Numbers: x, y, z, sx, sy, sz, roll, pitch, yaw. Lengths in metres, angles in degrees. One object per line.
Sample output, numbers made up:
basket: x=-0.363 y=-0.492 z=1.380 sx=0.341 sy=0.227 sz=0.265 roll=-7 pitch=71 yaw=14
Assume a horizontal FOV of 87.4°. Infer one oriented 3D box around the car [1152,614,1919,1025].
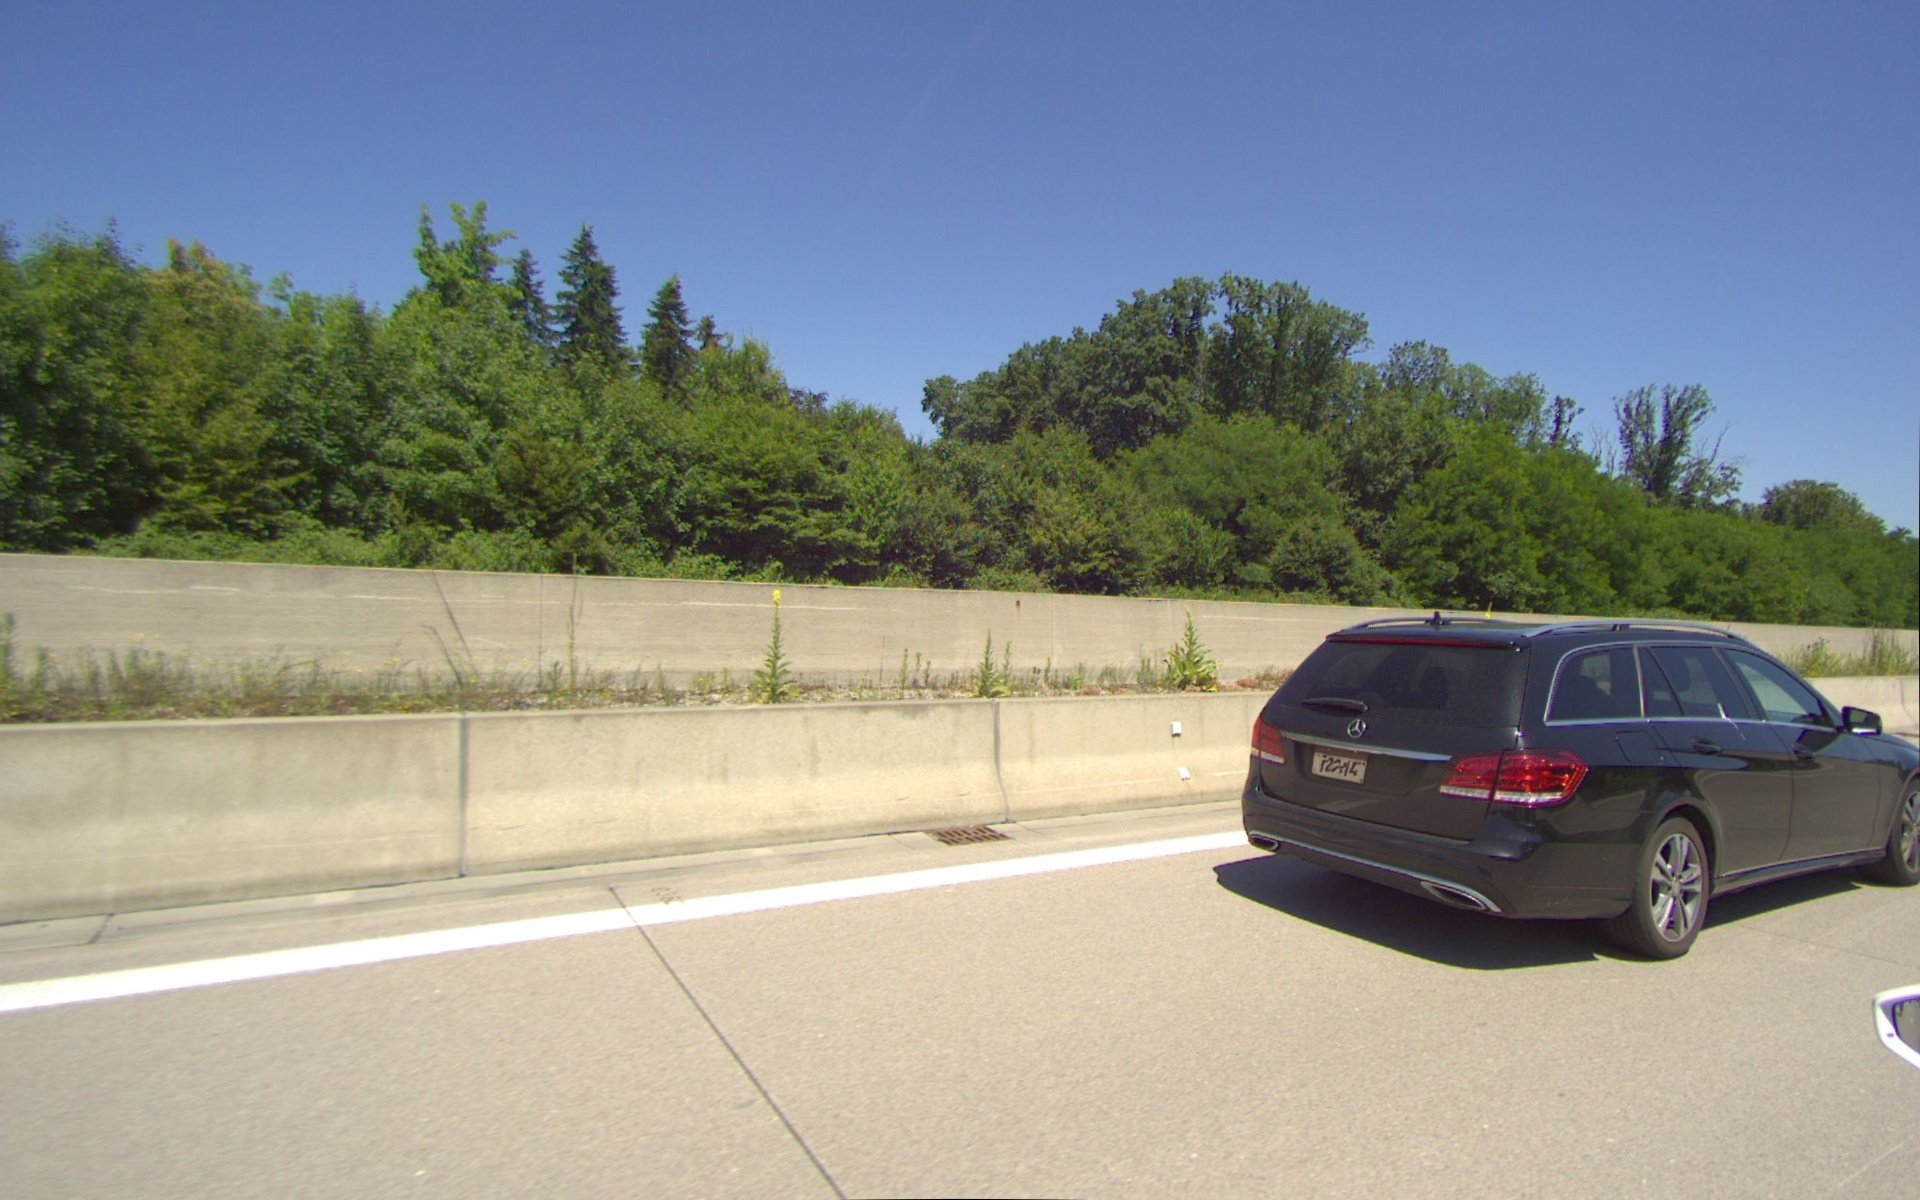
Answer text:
car: x=3.880 y=0.879 z=5.934 sx=5.538 sy=1.493 sz=1.882 roll=1 pitch=0 yaw=-30
